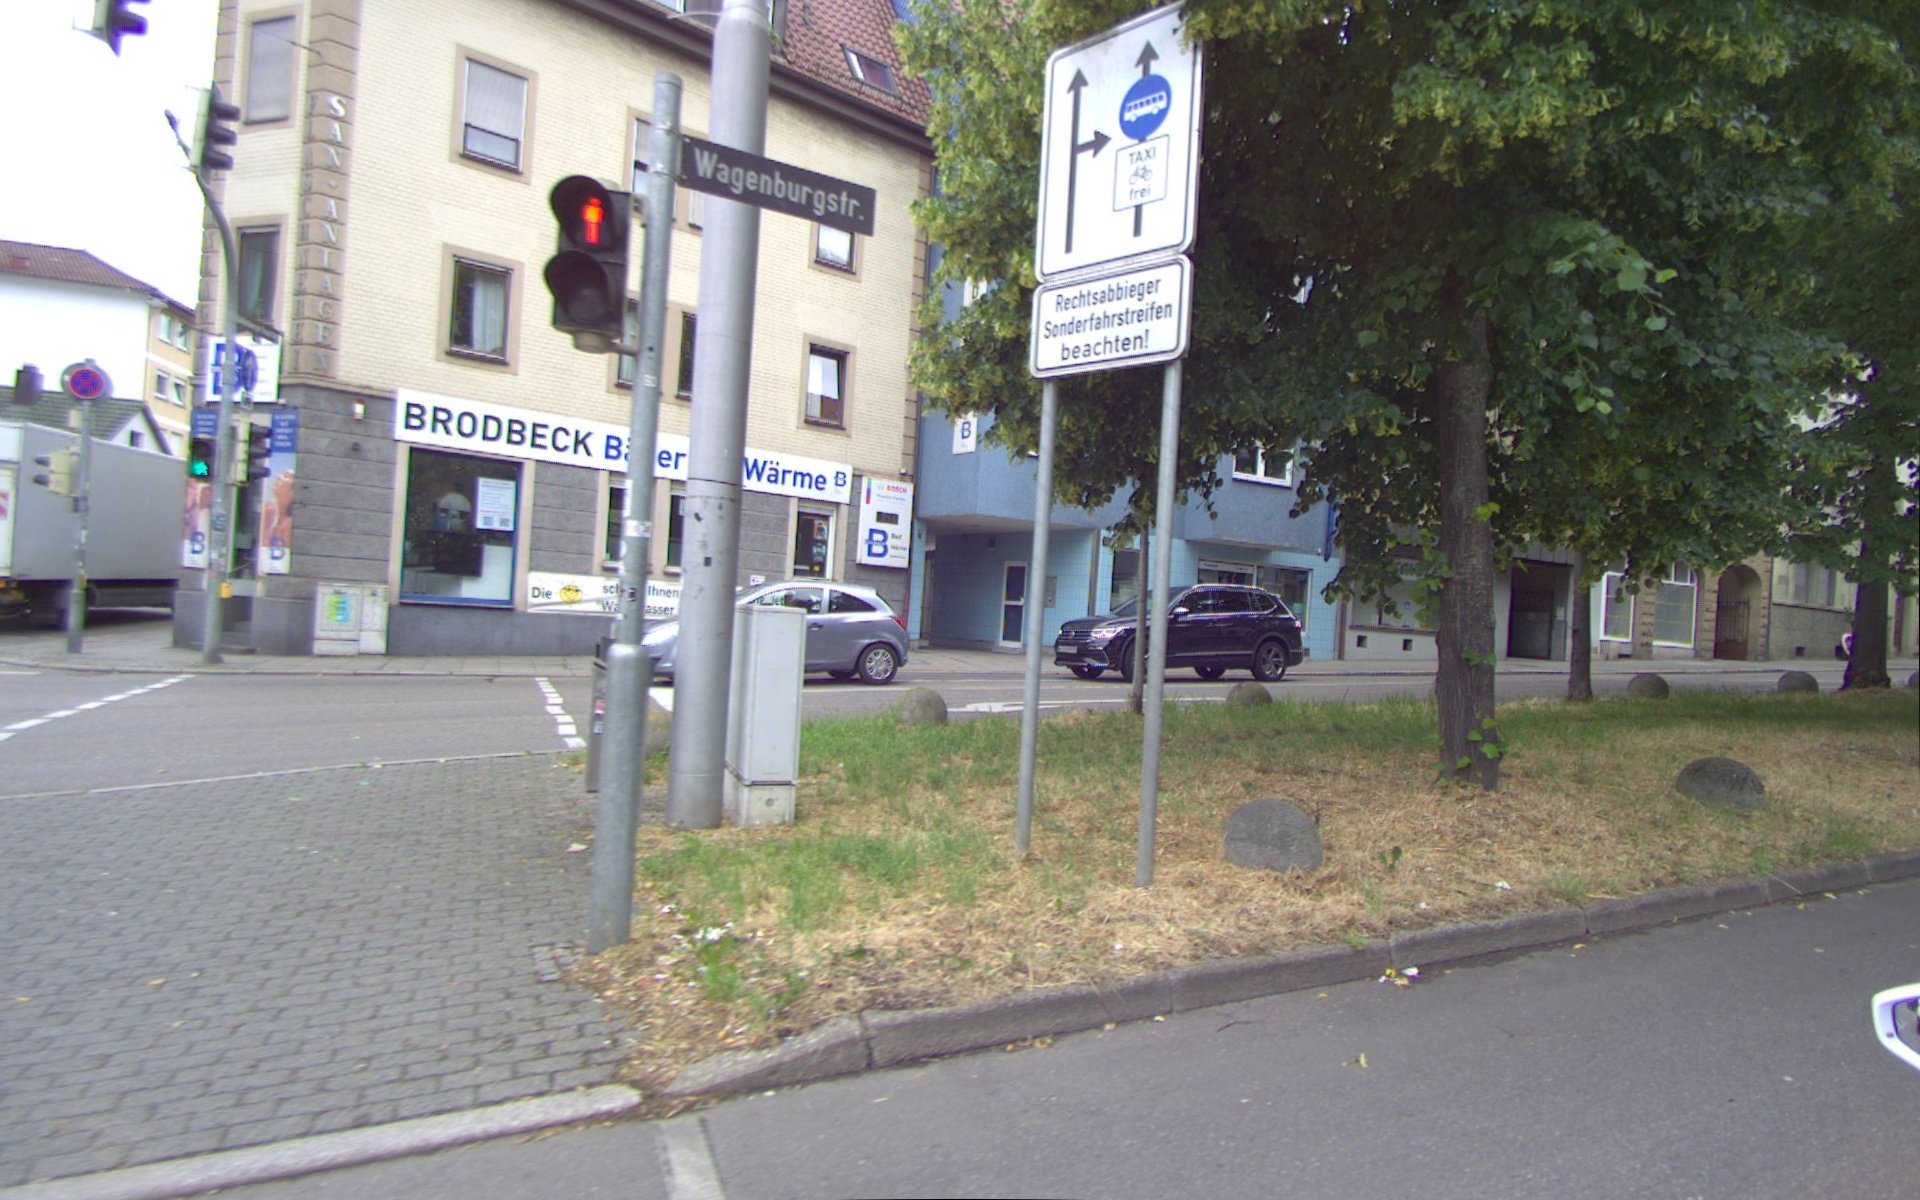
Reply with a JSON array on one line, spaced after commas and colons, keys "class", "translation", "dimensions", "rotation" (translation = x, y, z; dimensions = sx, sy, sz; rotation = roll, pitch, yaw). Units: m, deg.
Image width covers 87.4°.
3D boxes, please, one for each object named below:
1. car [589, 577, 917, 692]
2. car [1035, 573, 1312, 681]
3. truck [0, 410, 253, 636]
[{"class": "car", "translation": [-2.882, 0.467, 14.185], "dimensions": [4.240, 1.425, 1.662], "rotation": [1, 0, -28]}, {"class": "car", "translation": [3.778, 0.519, 17.581], "dimensions": [4.619, 1.658, 1.809], "rotation": [3, -2, -27]}, {"class": "truck", "translation": [-17.531, -1.390, 20.031], "dimensions": [2.666, 3.622, 8.487], "rotation": [4, 0, -15]}]
